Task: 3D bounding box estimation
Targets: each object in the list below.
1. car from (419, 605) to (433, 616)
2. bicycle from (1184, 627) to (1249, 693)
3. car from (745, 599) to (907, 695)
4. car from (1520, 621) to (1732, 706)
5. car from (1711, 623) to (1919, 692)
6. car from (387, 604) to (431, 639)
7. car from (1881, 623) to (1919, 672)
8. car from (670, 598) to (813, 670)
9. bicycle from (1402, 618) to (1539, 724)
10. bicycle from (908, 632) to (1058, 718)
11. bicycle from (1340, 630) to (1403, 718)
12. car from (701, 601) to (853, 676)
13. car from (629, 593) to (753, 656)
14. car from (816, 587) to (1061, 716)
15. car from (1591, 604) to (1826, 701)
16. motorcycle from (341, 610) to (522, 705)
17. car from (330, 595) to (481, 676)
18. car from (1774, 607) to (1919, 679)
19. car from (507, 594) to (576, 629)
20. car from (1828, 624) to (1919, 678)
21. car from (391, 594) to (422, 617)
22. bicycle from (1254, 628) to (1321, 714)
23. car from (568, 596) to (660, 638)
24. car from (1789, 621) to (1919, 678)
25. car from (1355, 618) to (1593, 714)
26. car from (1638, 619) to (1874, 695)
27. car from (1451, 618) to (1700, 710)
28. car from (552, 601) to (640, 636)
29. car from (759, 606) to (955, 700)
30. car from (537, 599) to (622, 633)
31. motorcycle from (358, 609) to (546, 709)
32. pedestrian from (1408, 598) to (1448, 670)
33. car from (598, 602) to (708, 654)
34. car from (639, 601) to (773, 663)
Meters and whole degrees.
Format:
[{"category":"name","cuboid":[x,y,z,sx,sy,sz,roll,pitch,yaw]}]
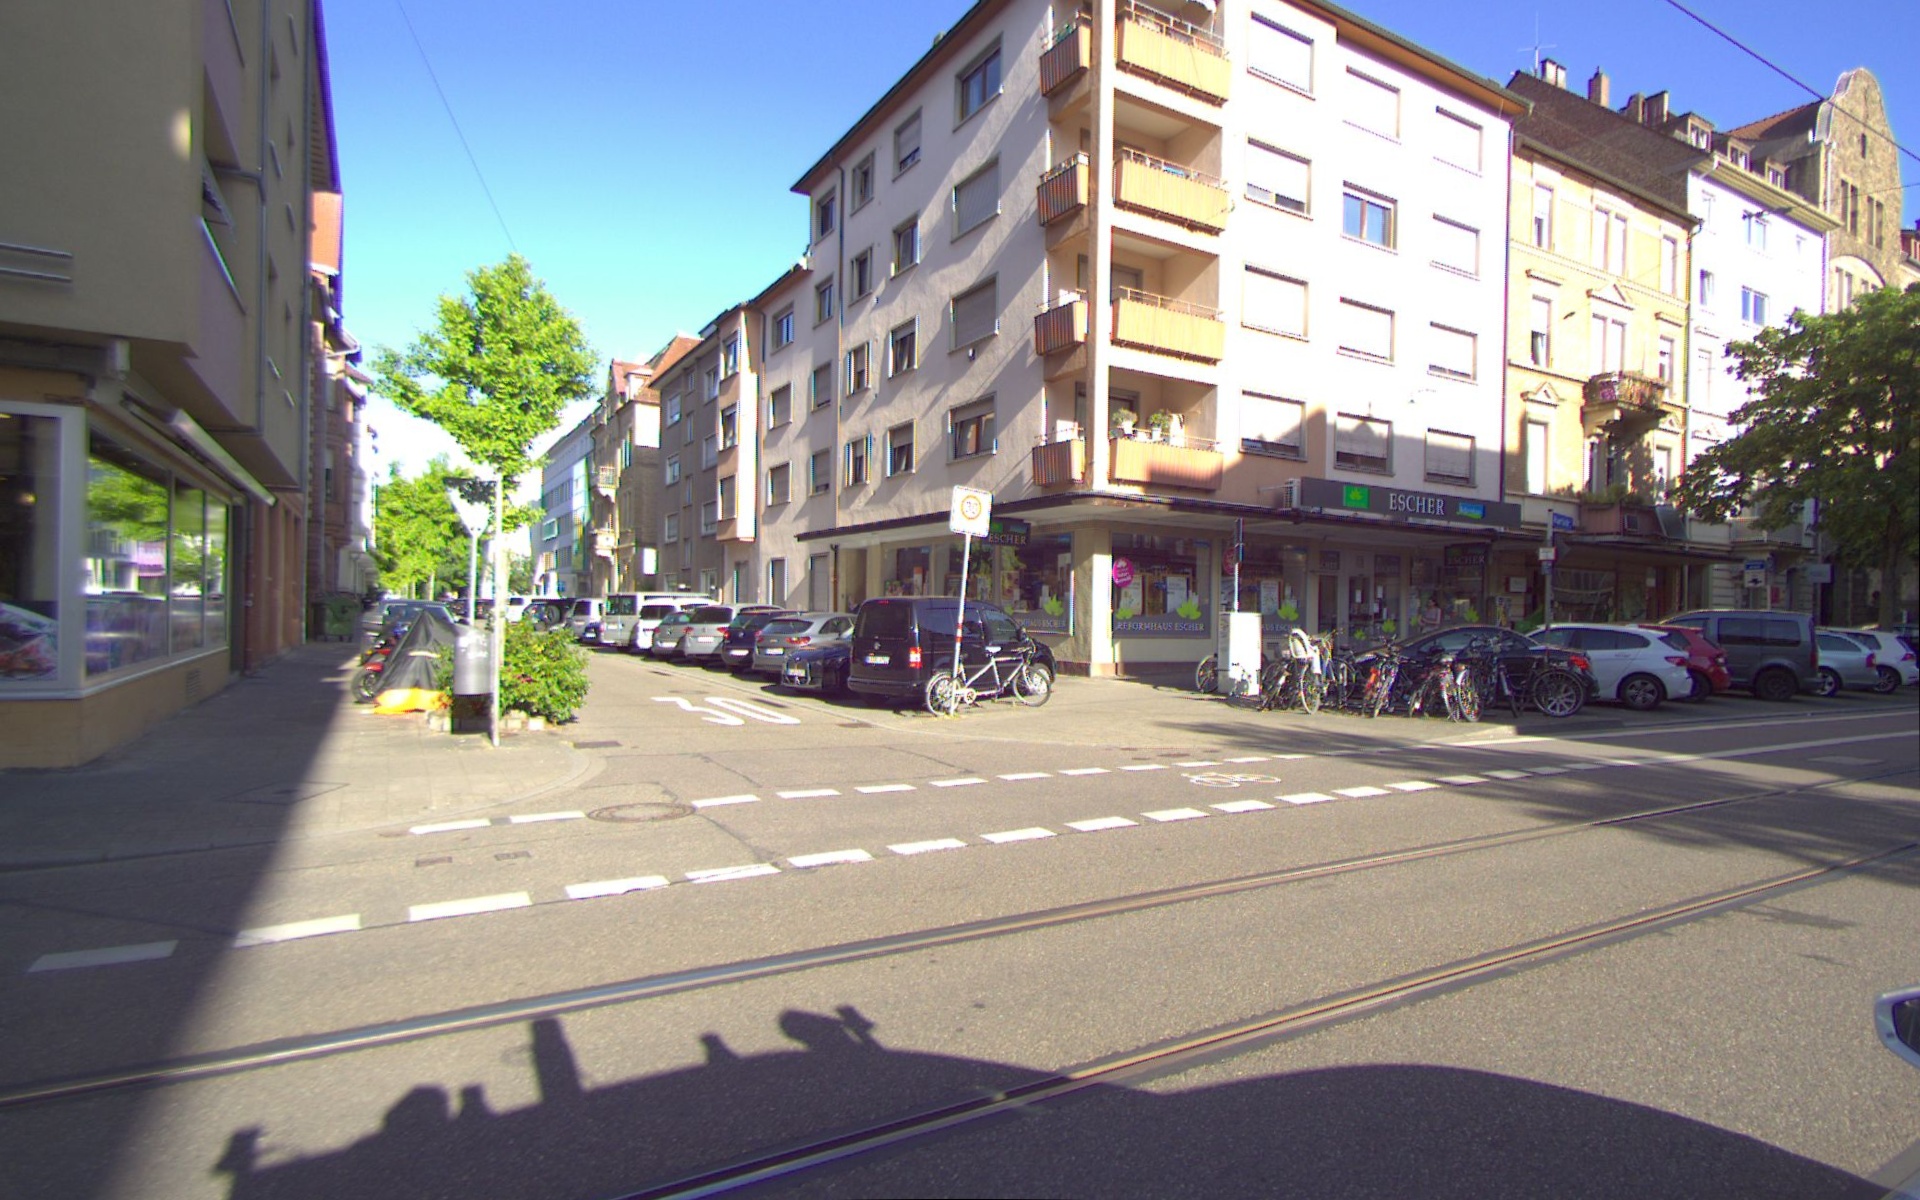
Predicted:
[{"category":"car","cuboid":[-78.344,1.508,147.370,1.707,1.506,3.681,2,0,-30]},{"category":"bicycle","cuboid":[4.596,1.050,17.944,0.398,1.124,1.830,1,-1,38]},{"category":"car","cuboid":[-2.846,0.940,22.134,1.422,1.726,3.991,2,3,30]},{"category":"car","cuboid":[13.258,1.209,20.219,3.410,1.493,1.645,1,0,31]},{"category":"car","cuboid":[21.014,1.361,24.859,3.780,1.449,1.760,2,0,35]},{"category":"car","cuboid":[-23.409,0.887,42.631,1.490,1.324,3.538,2,0,-31]},{"category":"car","cuboid":[32.025,1.564,31.774,3.931,1.509,1.802,2,0,33]},{"category":"car","cuboid":[-5.752,0.839,26.940,1.659,1.577,3.996,1,3,25]},{"category":"bicycle","cuboid":[7.304,0.962,14.321,2.410,1.337,0.677,-1,2,-35]},{"category":"bicycle","cuboid":[0.387,1.112,15.424,2.412,1.124,0.676,-1,2,-37]},{"category":"bicycle","cuboid":[6.254,1.083,15.226,0.671,1.139,1.884,0,2,29]},{"category":"car","cuboid":[-4.357,0.869,24.588,1.659,1.477,3.996,1,3,25]},{"category":"car","cuboid":[-8.487,0.715,32.038,1.659,1.737,3.996,1,3,25]},{"category":"car","cuboid":[-0.235,0.781,17.368,1.821,1.842,4.338,-2,1,39]},{"category":"car","cuboid":[15.873,1.048,21.563,3.752,1.808,1.795,2,0,28]},{"category":"motorcycle","cuboid":[-7.255,0.777,13.861,2.151,1.225,0.616,2,0,-31]},{"category":"car","cuboid":[-12.084,0.711,21.798,3.816,1.531,1.785,2,0,44]},{"category":"car","cuboid":[24.932,1.155,27.056,4.286,1.806,1.993,2,0,28]},{"category":"car","cuboid":[-24.743,0.676,59.486,1.479,2.010,3.562,2,0,28]},{"category":"car","cuboid":[29.184,1.573,30.480,3.926,1.509,1.804,2,0,28]},{"category":"car","cuboid":[-40.031,0.366,72.621,1.776,1.531,3.836,2,0,-32]},{"category":"bicycle","cuboid":[5.121,1.061,15.832,0.670,1.124,2.436,0,1,10]},{"category":"car","cuboid":[-14.314,0.673,41.702,1.589,1.477,3.546,1,3,25]},{"category":"car","cuboid":[26.738,1.426,29.024,3.926,1.509,1.865,2,0,28]},{"category":"car","cuboid":[8.628,1.055,17.074,3.406,1.355,1.623,2,0,26]},{"category":"car","cuboid":[18.127,1.256,23.120,3.945,1.469,1.697,2,0,28]},{"category":"car","cuboid":[11.188,1.110,18.558,3.722,1.419,1.752,2,0,27]},{"category":"car","cuboid":[-15.971,0.805,44.209,1.589,1.477,3.547,1,0,25]},{"category":"car","cuboid":[-1.871,0.925,19.504,1.816,1.411,3.992,1,3,29]},{"category":"car","cuboid":[-17.542,0.755,46.475,1.589,1.477,3.548,1,-1,25]},{"category":"motorcycle","cuboid":[-6.682,0.768,13.284,2.151,1.225,0.616,2,0,-31]},{"category":"pedestrian","cuboid":[11.146,0.807,23.946,0.634,1.674,0.566,2,0,-30]},{"category":"car","cuboid":[-10.330,0.889,34.050,1.589,1.477,3.546,1,3,25]},{"category":"car","cuboid":[-7.340,0.867,29.407,1.659,1.477,3.996,1,3,25]}]
